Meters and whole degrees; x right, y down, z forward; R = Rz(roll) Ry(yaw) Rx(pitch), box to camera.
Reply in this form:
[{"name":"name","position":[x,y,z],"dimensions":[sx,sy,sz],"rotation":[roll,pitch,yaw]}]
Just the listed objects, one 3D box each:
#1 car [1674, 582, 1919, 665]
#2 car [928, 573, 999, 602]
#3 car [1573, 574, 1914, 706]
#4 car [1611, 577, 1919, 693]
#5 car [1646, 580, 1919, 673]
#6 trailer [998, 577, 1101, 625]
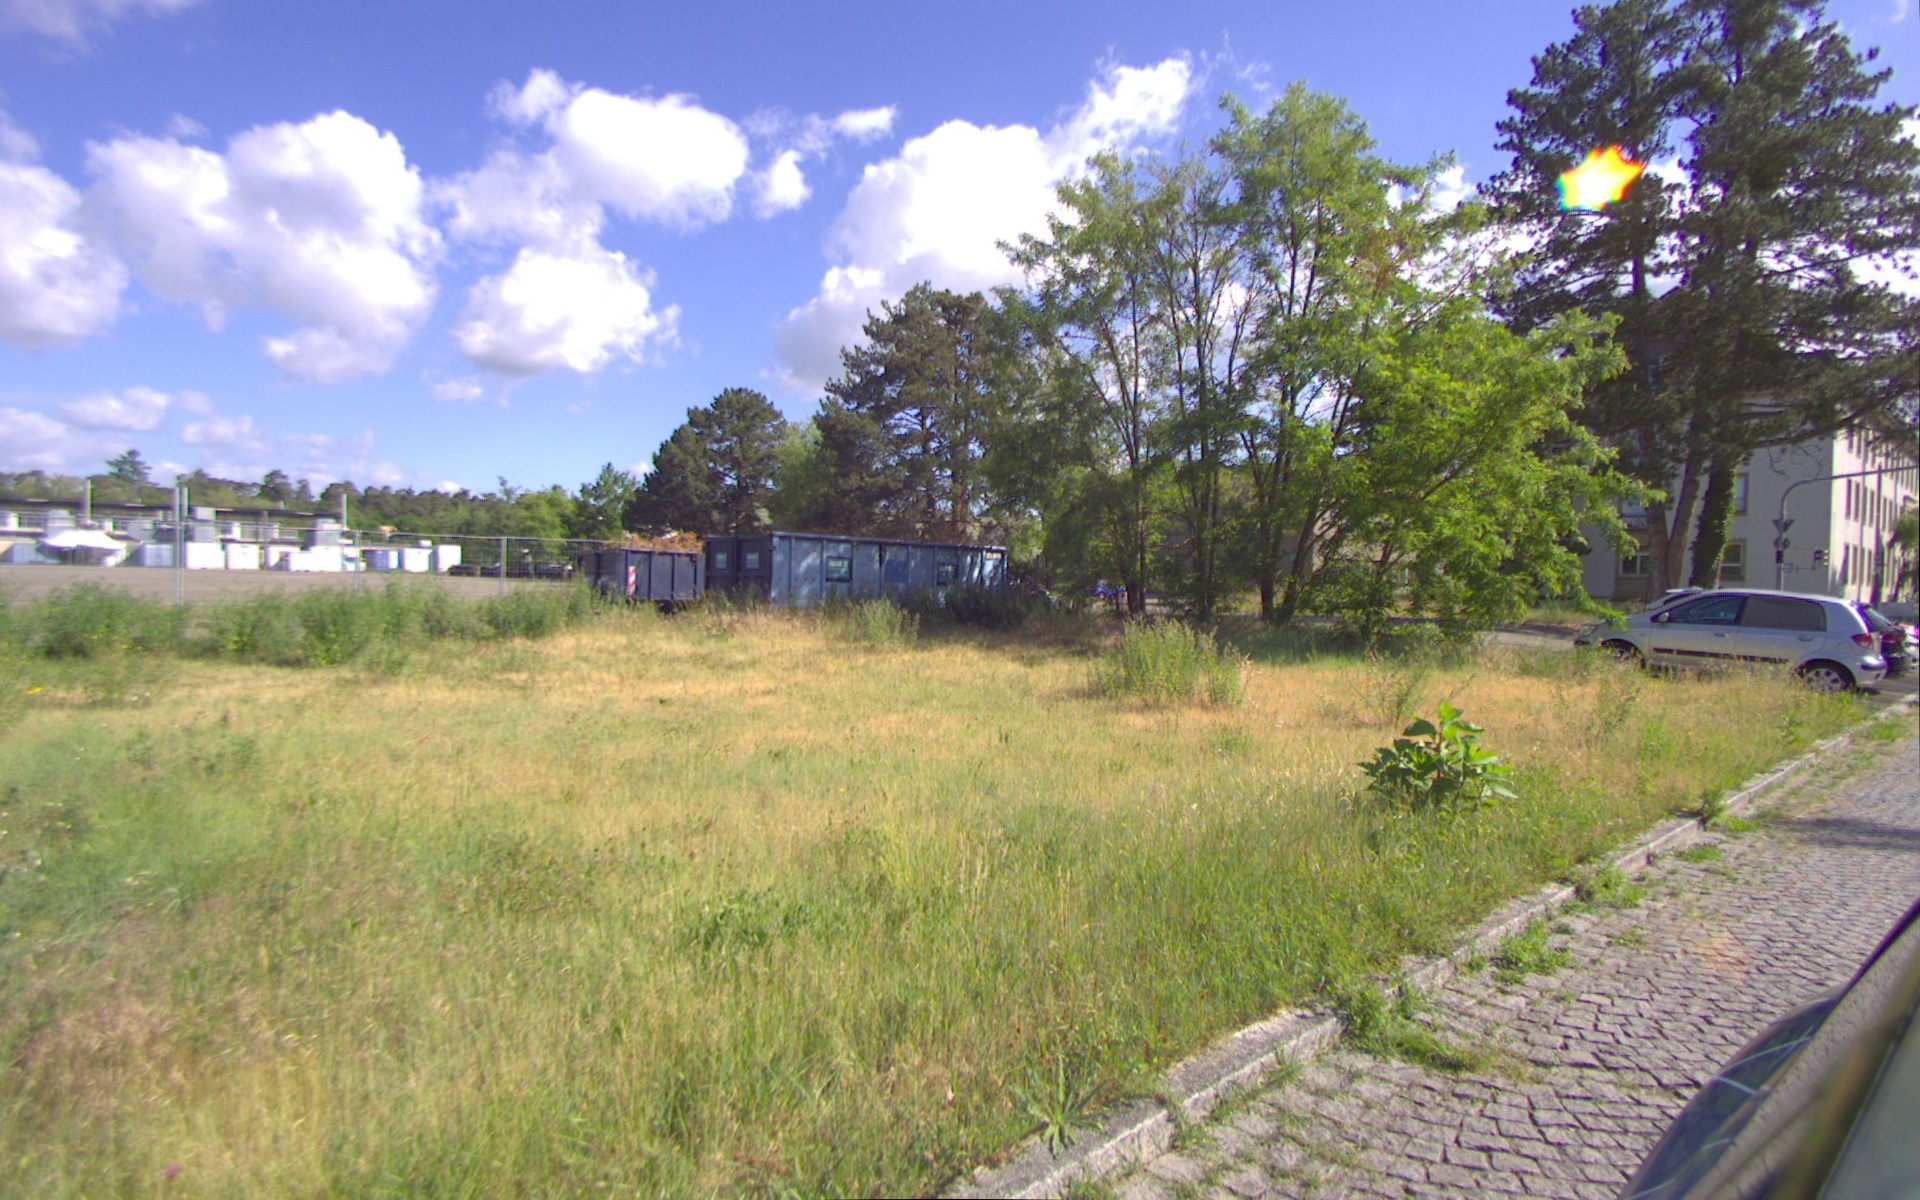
[{"name":"car","position":[19.072,0.457,22.798],"dimensions":[1.862,1.438,4.546],"rotation":[0,4,-42]},{"name":"car","position":[0.161,-0.700,55.733],"dimensions":[1.715,1.440,3.994],"rotation":[2,1,-41]},{"name":"car","position":[11.623,0.482,15.196],"dimensions":[1.722,1.494,3.748],"rotation":[0,5,-42]},{"name":"car","position":[13.585,0.492,17.052],"dimensions":[1.812,1.458,4.012],"rotation":[0,4,-42]},{"name":"car","position":[17.085,0.460,20.869],"dimensions":[1.808,1.482,4.519],"rotation":[0,4,-43]},{"name":"trailer","position":[2.143,0.001,24.543],"dimensions":[1.019,1.119,2.400],"rotation":[0,1,-44]}]
